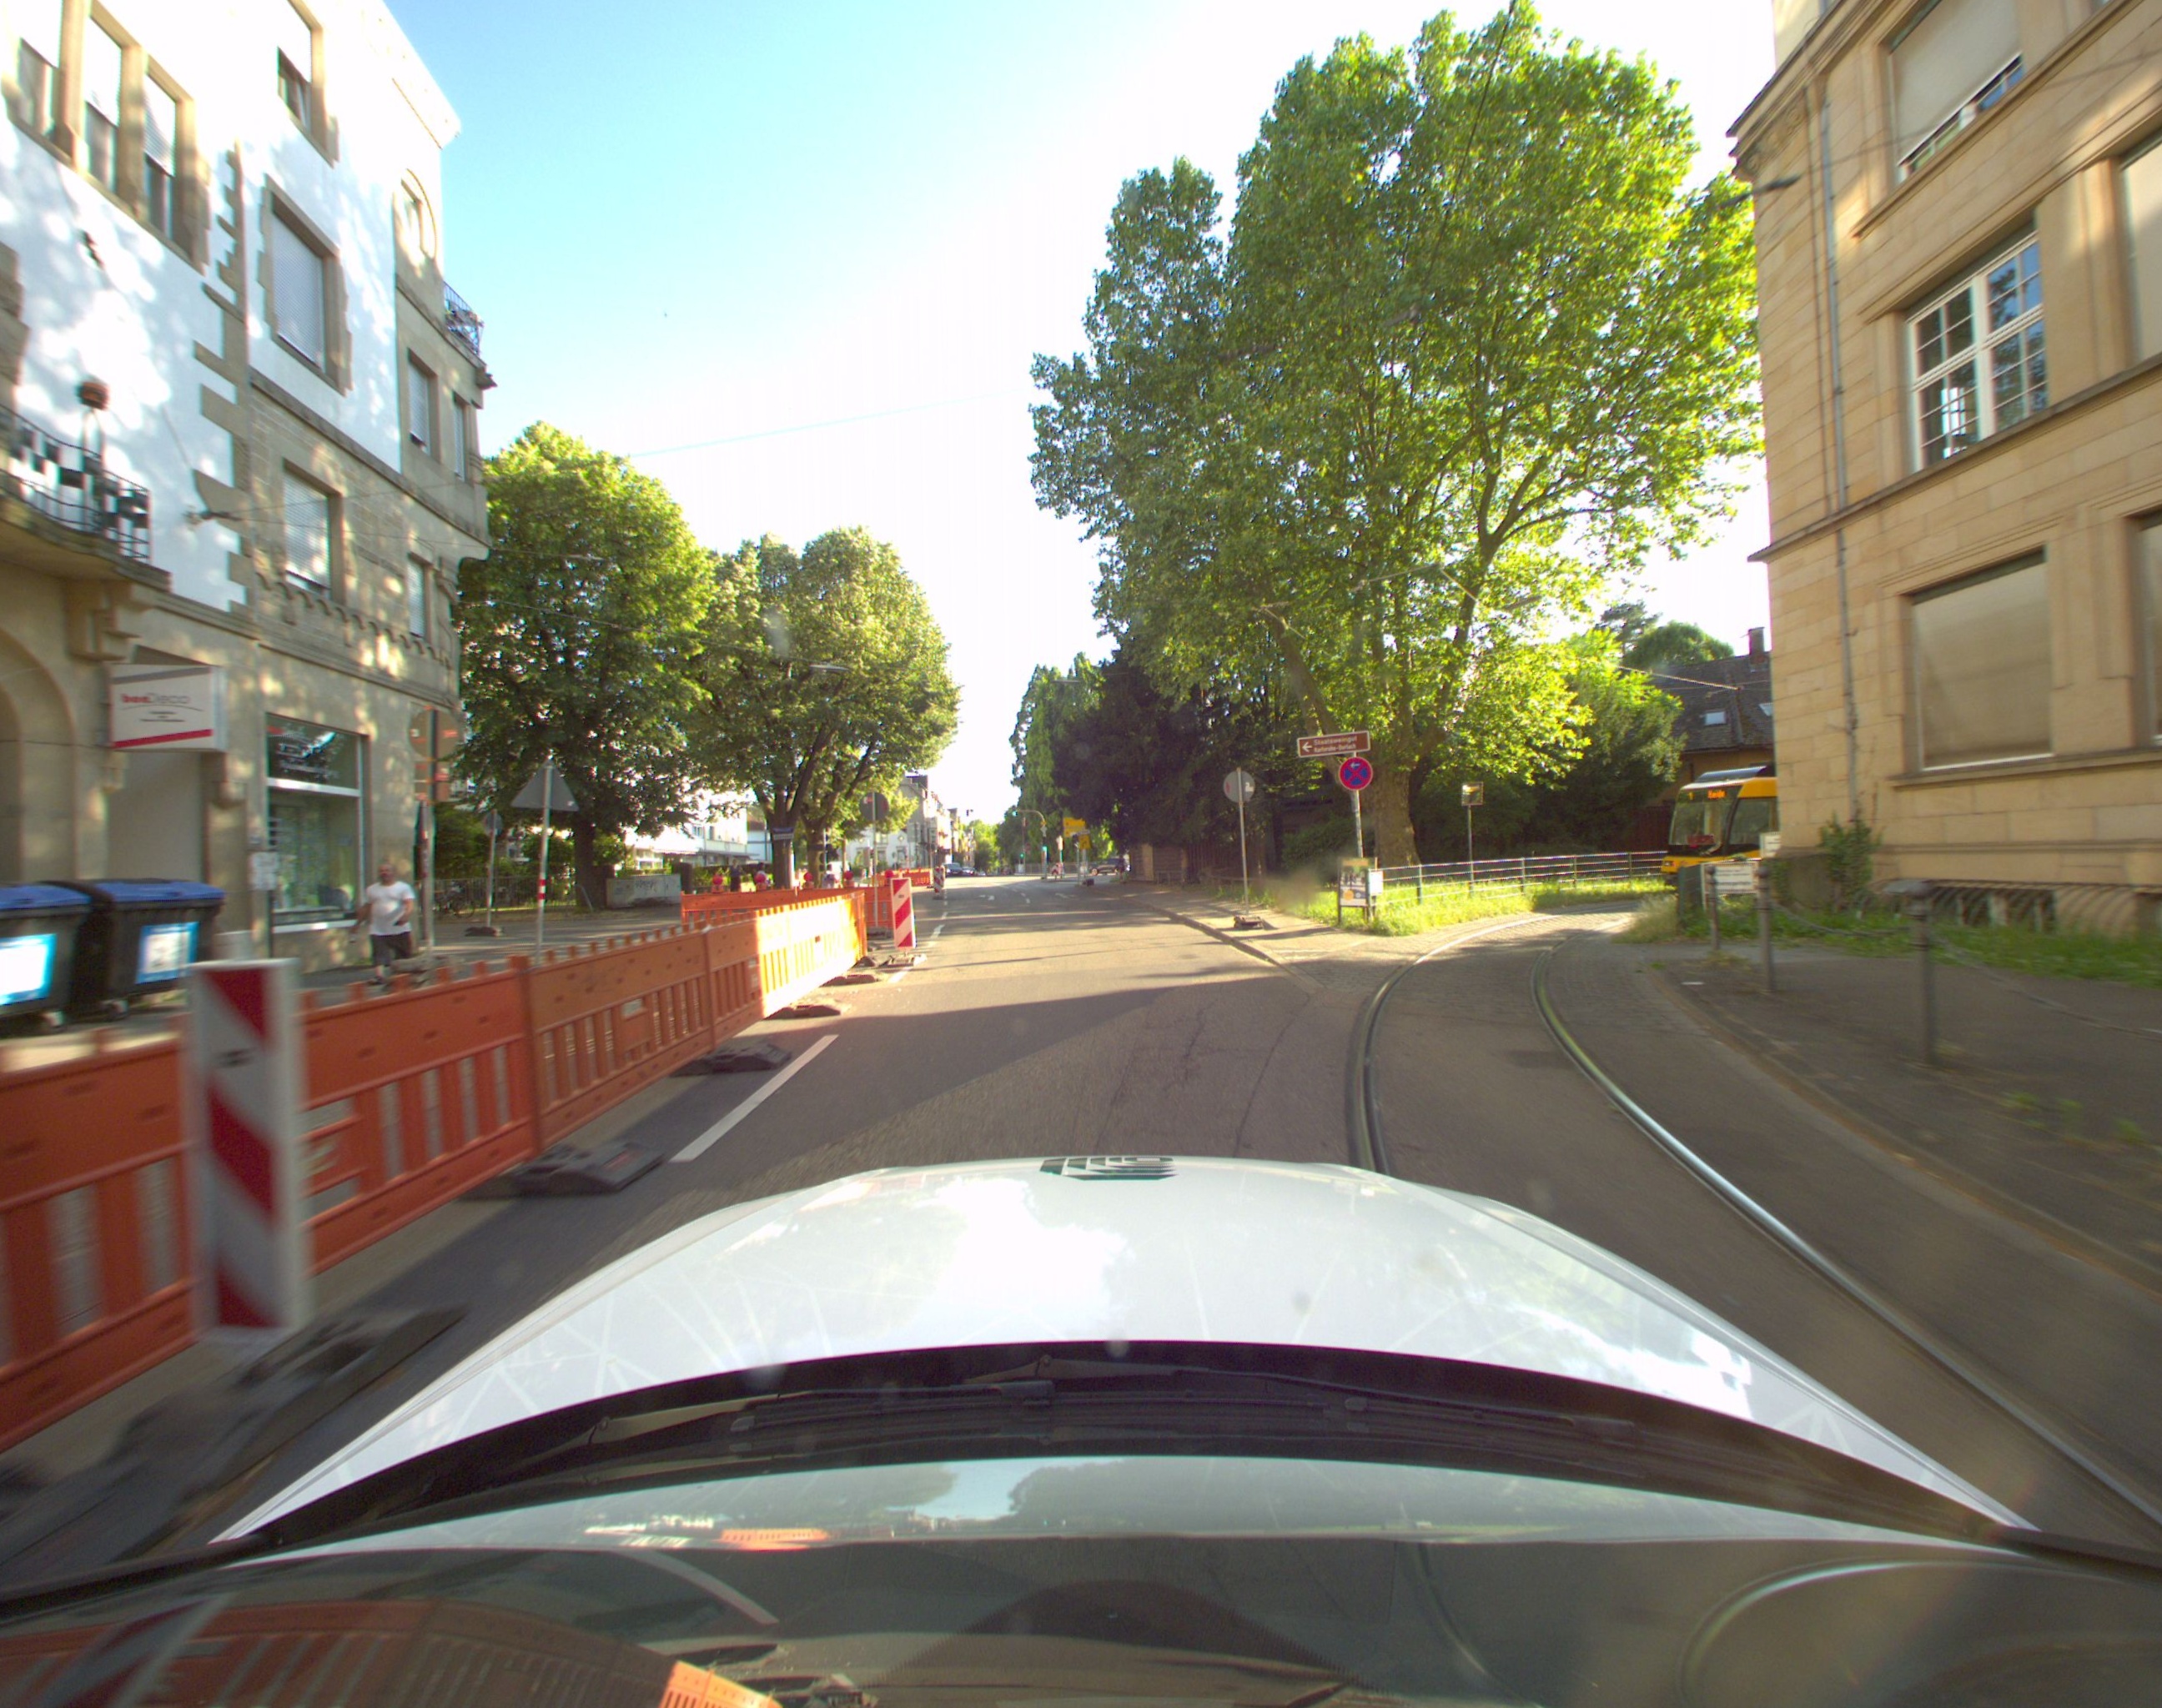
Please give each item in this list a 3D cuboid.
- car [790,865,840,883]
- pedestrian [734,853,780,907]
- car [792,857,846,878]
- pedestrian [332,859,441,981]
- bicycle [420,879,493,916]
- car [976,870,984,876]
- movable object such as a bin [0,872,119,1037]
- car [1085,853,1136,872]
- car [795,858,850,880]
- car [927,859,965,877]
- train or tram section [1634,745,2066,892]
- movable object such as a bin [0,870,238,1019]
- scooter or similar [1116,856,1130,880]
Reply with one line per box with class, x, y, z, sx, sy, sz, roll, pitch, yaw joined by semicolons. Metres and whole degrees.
car;-23.246;1.757;71.276;3.995;1.479;1.991;-1;0;-13
pedestrian;-10.986;0.866;27.661;1.040;1.781;1.191;-2;0;-1
car;-23.784;1.233;74.061;4.308;1.852;1.996;-1;0;-6
pedestrian;-9.600;0.874;11.293;0.822;1.603;0.913;-1;0;-15
bicycle;-19.798;1.368;25.871;0.743;1.077;1.935;-1;0;4
car;-29.924;5.635;241.027;1.990;1.491;4.462;-3;0;-5
movable object such as a bin;-10.075;0.898;7.391;1.083;1.431;1.402;-1;0;-12
car;2.839;0.822;78.181;4.603;1.670;2.012;-2;-3;36
car;-24.350;1.364;76.827;4.668;1.965;2.109;-1;0;-11
car;-15.190;1.584;91.534;2.012;1.815;4.199;-5;3;-44
train or tram section;19.827;-0.894;21.284;9.222;3.519;2.793;-1;0;-5
movable object such as a bin;-10.282;0.904;8.775;1.083;1.431;1.340;-1;0;-12
scooter or similar;2.140;0.704;41.511;0.437;1.202;1.256;-5;0;-5
